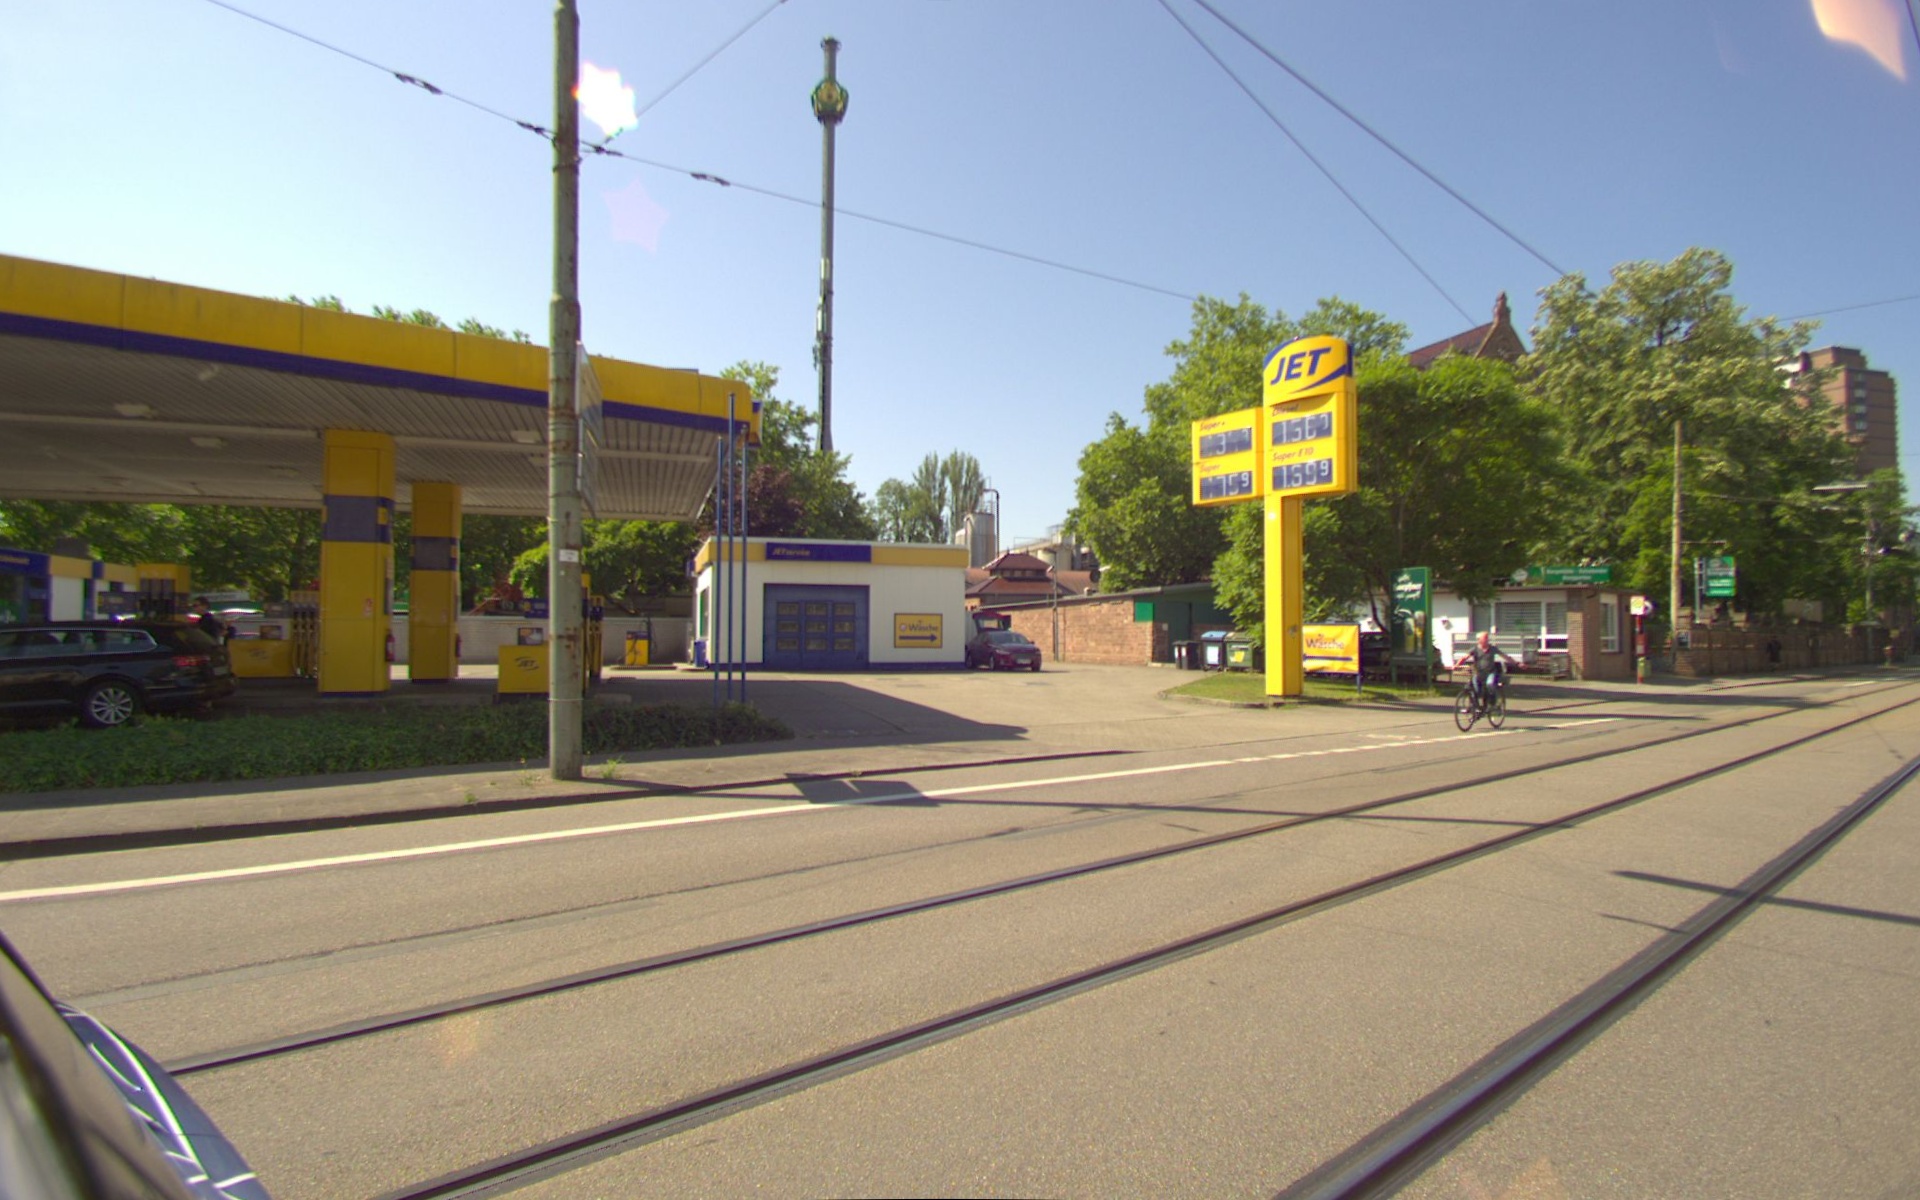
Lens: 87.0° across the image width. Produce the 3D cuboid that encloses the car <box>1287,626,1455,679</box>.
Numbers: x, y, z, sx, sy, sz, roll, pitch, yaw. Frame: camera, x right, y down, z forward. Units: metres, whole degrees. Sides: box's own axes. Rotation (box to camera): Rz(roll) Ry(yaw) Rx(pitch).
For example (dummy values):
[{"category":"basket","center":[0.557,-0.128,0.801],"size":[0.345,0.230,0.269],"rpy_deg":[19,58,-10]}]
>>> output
[{"category":"car","center":[13.262,1.683,32.885],"size":[4.596,1.653,2.019],"rpy_deg":[0,-2,2]}]

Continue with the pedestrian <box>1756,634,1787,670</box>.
[{"category":"pedestrian","center":[40.995,2.621,51.113],"size":[1.166,1.830,0.981],"rpy_deg":[3,-4,-42]}]

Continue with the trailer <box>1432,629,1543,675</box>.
[{"category":"trailer","center":[19.710,1.925,37.907],"size":[1.696,1.615,3.290],"rpy_deg":[2,-3,-40]}]

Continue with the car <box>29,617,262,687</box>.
[{"category":"car","center":[-24.694,1.574,30.940],"size":[5.215,1.997,1.767],"rpy_deg":[1,-2,-21]}]

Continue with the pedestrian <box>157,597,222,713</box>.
[{"category":"pedestrian","center":[-11.965,0.847,15.710],"size":[0.733,1.739,0.860],"rpy_deg":[2,-3,-39]}]

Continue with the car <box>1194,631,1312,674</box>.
[{"category":"car","center":[11.129,1.987,38.632],"size":[3.946,1.569,1.846],"rpy_deg":[0,-2,2]}]

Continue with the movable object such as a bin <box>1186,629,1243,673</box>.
[{"category":"movable object such as a bin","center":[9.006,1.809,35.852],"size":[1.355,1.514,1.427],"rpy_deg":[1,-3,-26]}]

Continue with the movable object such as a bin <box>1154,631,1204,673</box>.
[{"category":"movable object such as a bin","center":[8.142,1.934,37.679],"size":[1.309,1.514,1.333],"rpy_deg":[0,-4,-13]}]

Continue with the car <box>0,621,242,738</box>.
[{"category":"car","center":[-12.925,1.076,14.191],"size":[4.333,1.466,1.767],"rpy_deg":[0,1,-18]}]

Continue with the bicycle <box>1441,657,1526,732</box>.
[{"category":"bicycle","center":[9.233,1.629,17.824],"size":[2.090,1.206,0.612],"rpy_deg":[2,-3,-42]}]

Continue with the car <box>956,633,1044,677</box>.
[{"category":"car","center":[1.404,1.989,37.558],"size":[1.860,1.471,4.569],"rpy_deg":[-1,-2,-16]}]

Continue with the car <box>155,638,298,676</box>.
[{"category":"car","center":[-27.969,2.163,38.733],"size":[4.061,1.370,1.767],"rpy_deg":[1,-2,-20]}]

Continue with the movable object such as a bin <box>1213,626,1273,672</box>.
[{"category":"movable object such as a bin","center":[9.579,1.650,34.295],"size":[1.357,1.514,1.425],"rpy_deg":[2,-3,-39]}]

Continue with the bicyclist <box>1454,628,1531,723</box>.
[{"category":"bicyclist","center":[9.408,1.312,17.883],"size":[0.950,1.608,0.907],"rpy_deg":[3,-4,-43]}]
